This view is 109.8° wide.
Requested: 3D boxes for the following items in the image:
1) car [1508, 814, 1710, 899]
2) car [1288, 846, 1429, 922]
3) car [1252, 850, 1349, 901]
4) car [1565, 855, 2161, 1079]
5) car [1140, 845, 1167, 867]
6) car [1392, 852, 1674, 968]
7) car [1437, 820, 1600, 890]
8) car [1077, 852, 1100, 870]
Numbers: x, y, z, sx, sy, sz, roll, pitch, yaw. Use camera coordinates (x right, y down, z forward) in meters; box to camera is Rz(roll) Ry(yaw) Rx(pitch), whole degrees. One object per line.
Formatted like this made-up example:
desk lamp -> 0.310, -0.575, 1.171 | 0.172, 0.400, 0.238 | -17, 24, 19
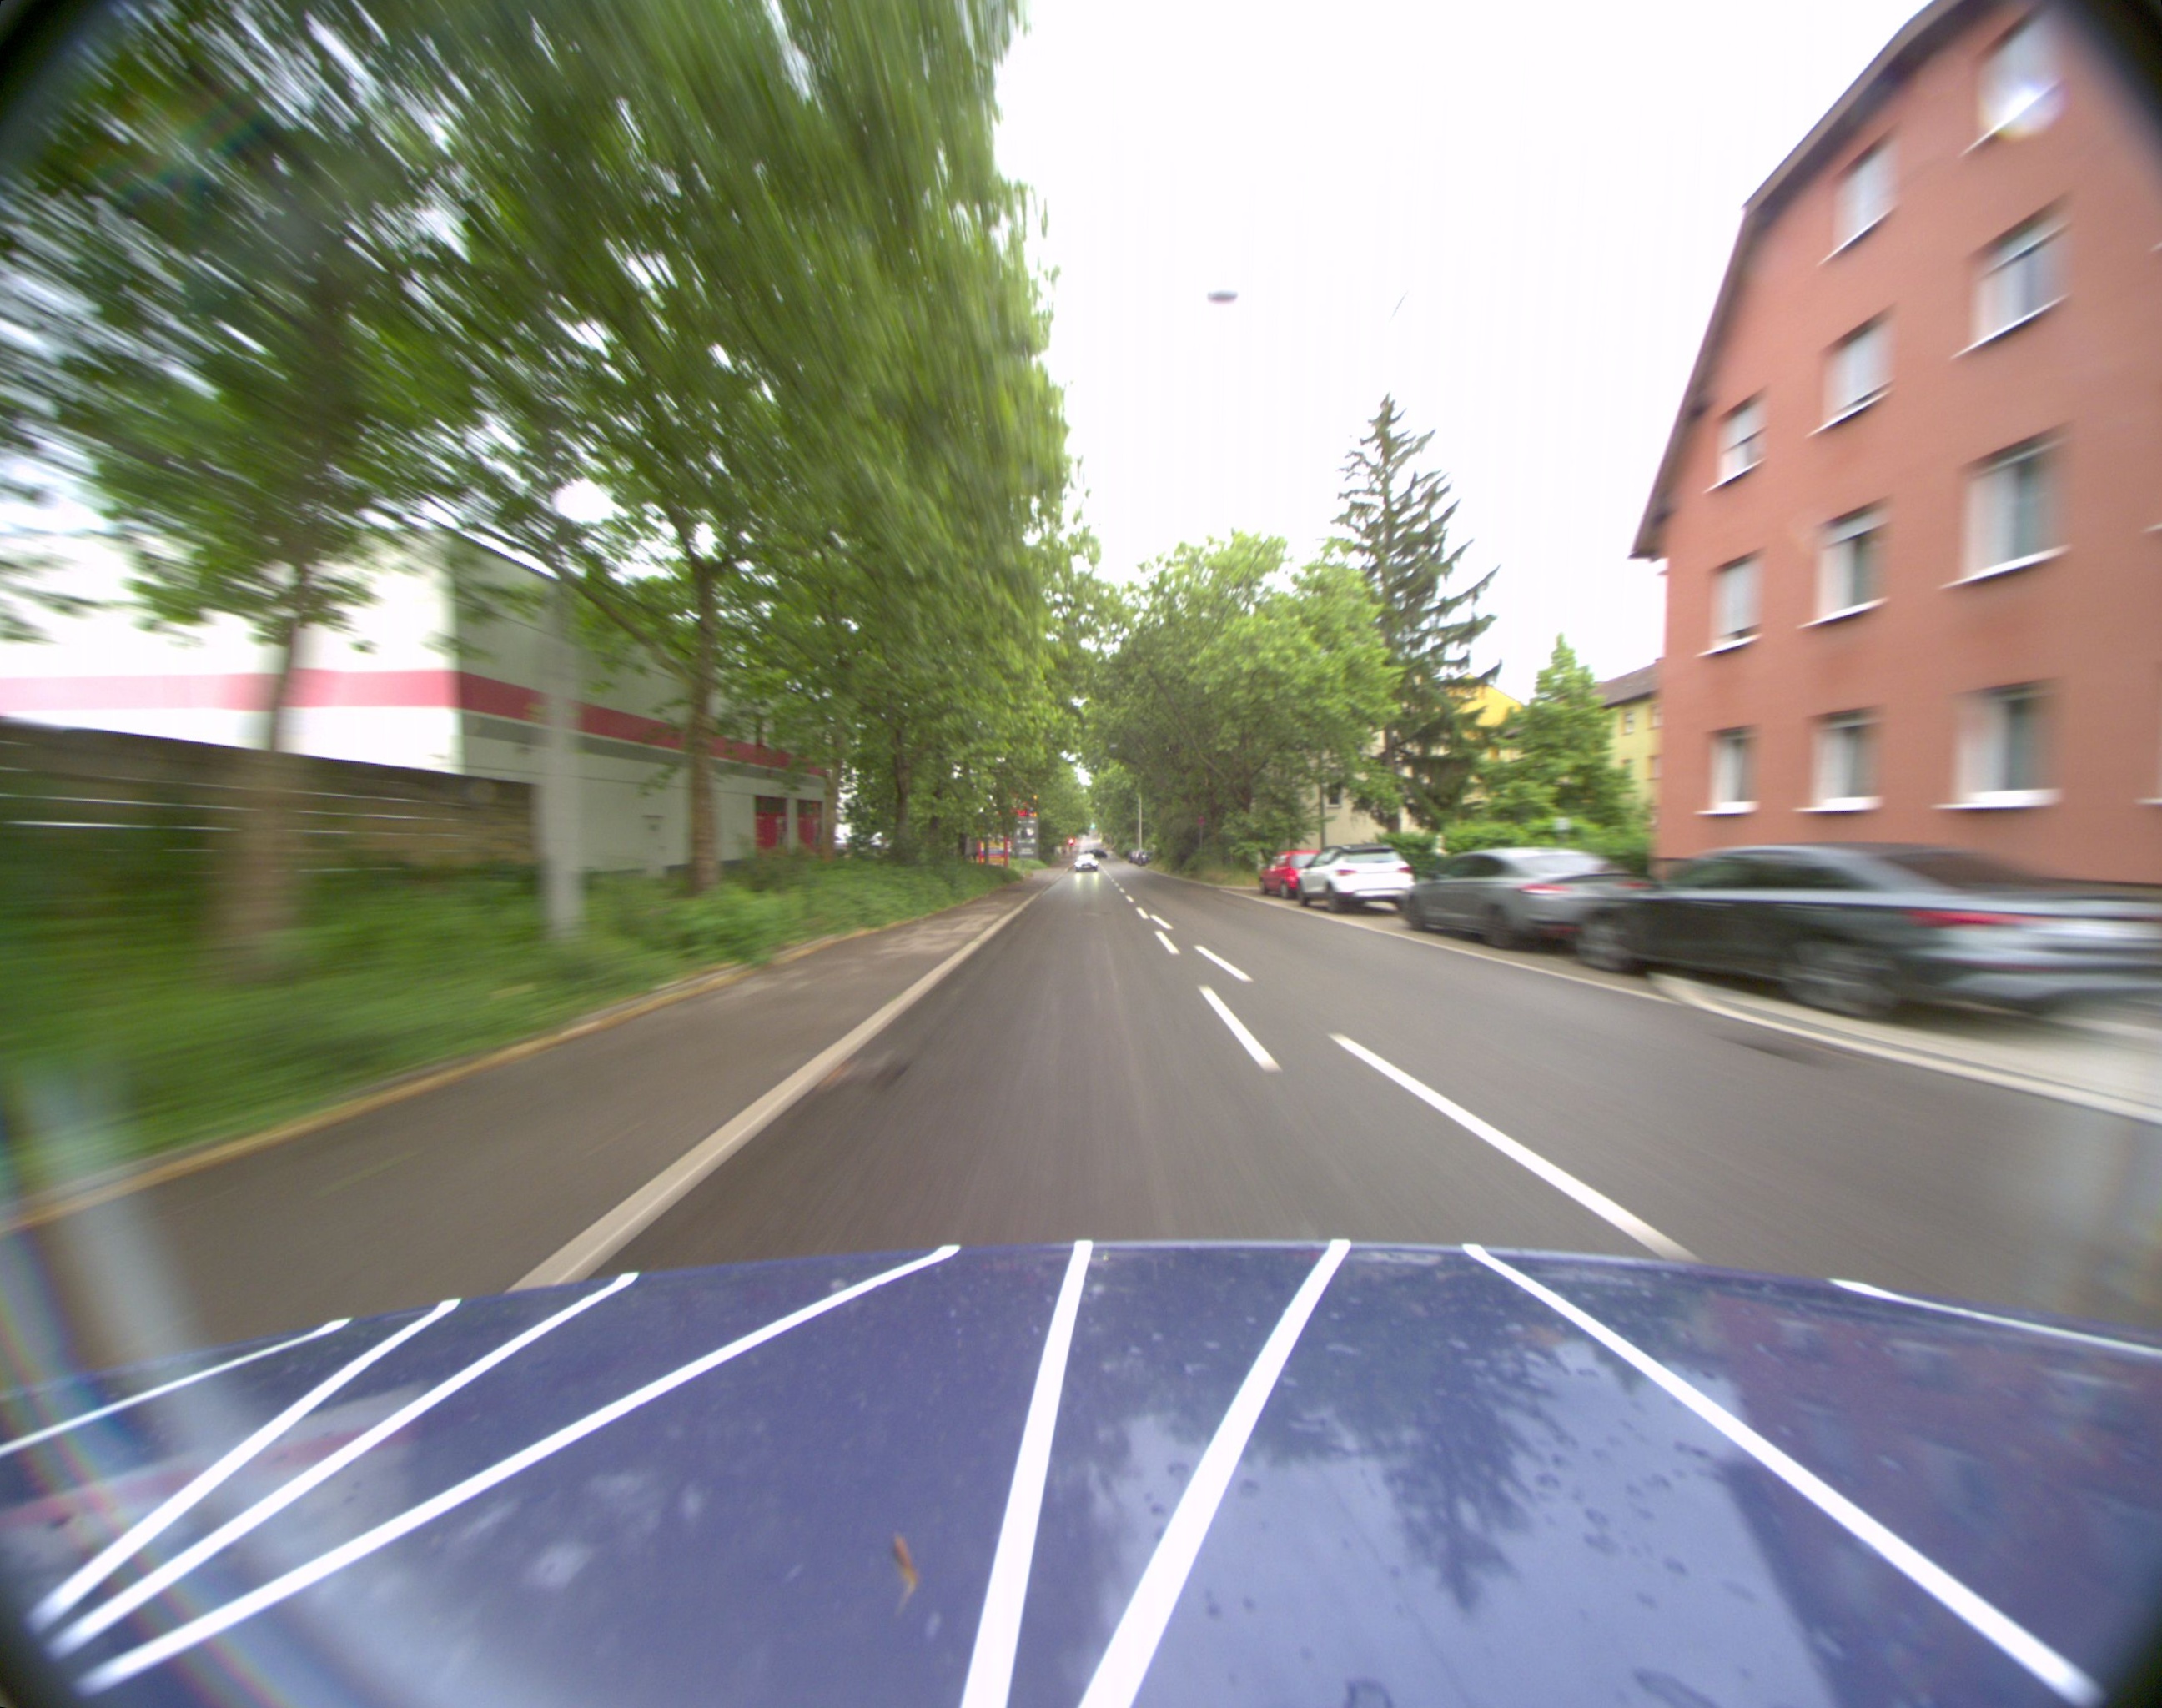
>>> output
car -> 14.011, 0.059, 20.354 | 3.997, 2.002, 1.999 | -2, 1, -1
car -> 6.434, 0.624, 18.158 | 1.816, 1.537, 4.198 | 2, 0, 0
car -> 6.722, 0.600, 23.748 | 1.816, 1.425, 4.198 | -1, 0, 0
car -> 6.733, 0.736, 6.964 | 1.789, 1.402, 4.197 | 1, 0, -2
car -> 5.731, 0.154, 60.519 | 1.842, 1.631, 4.194 | -1, 0, 1
car -> 6.626, 0.706, 11.782 | 1.816, 1.443, 4.198 | -1, 0, -1
car -> 13.791, 0.024, 24.172 | 3.994, 2.002, 2.001 | -2, 1, 8
car -> 0.635, 0.576, 64.700 | 1.842, 1.403, 4.000 | -1, 0, 1
